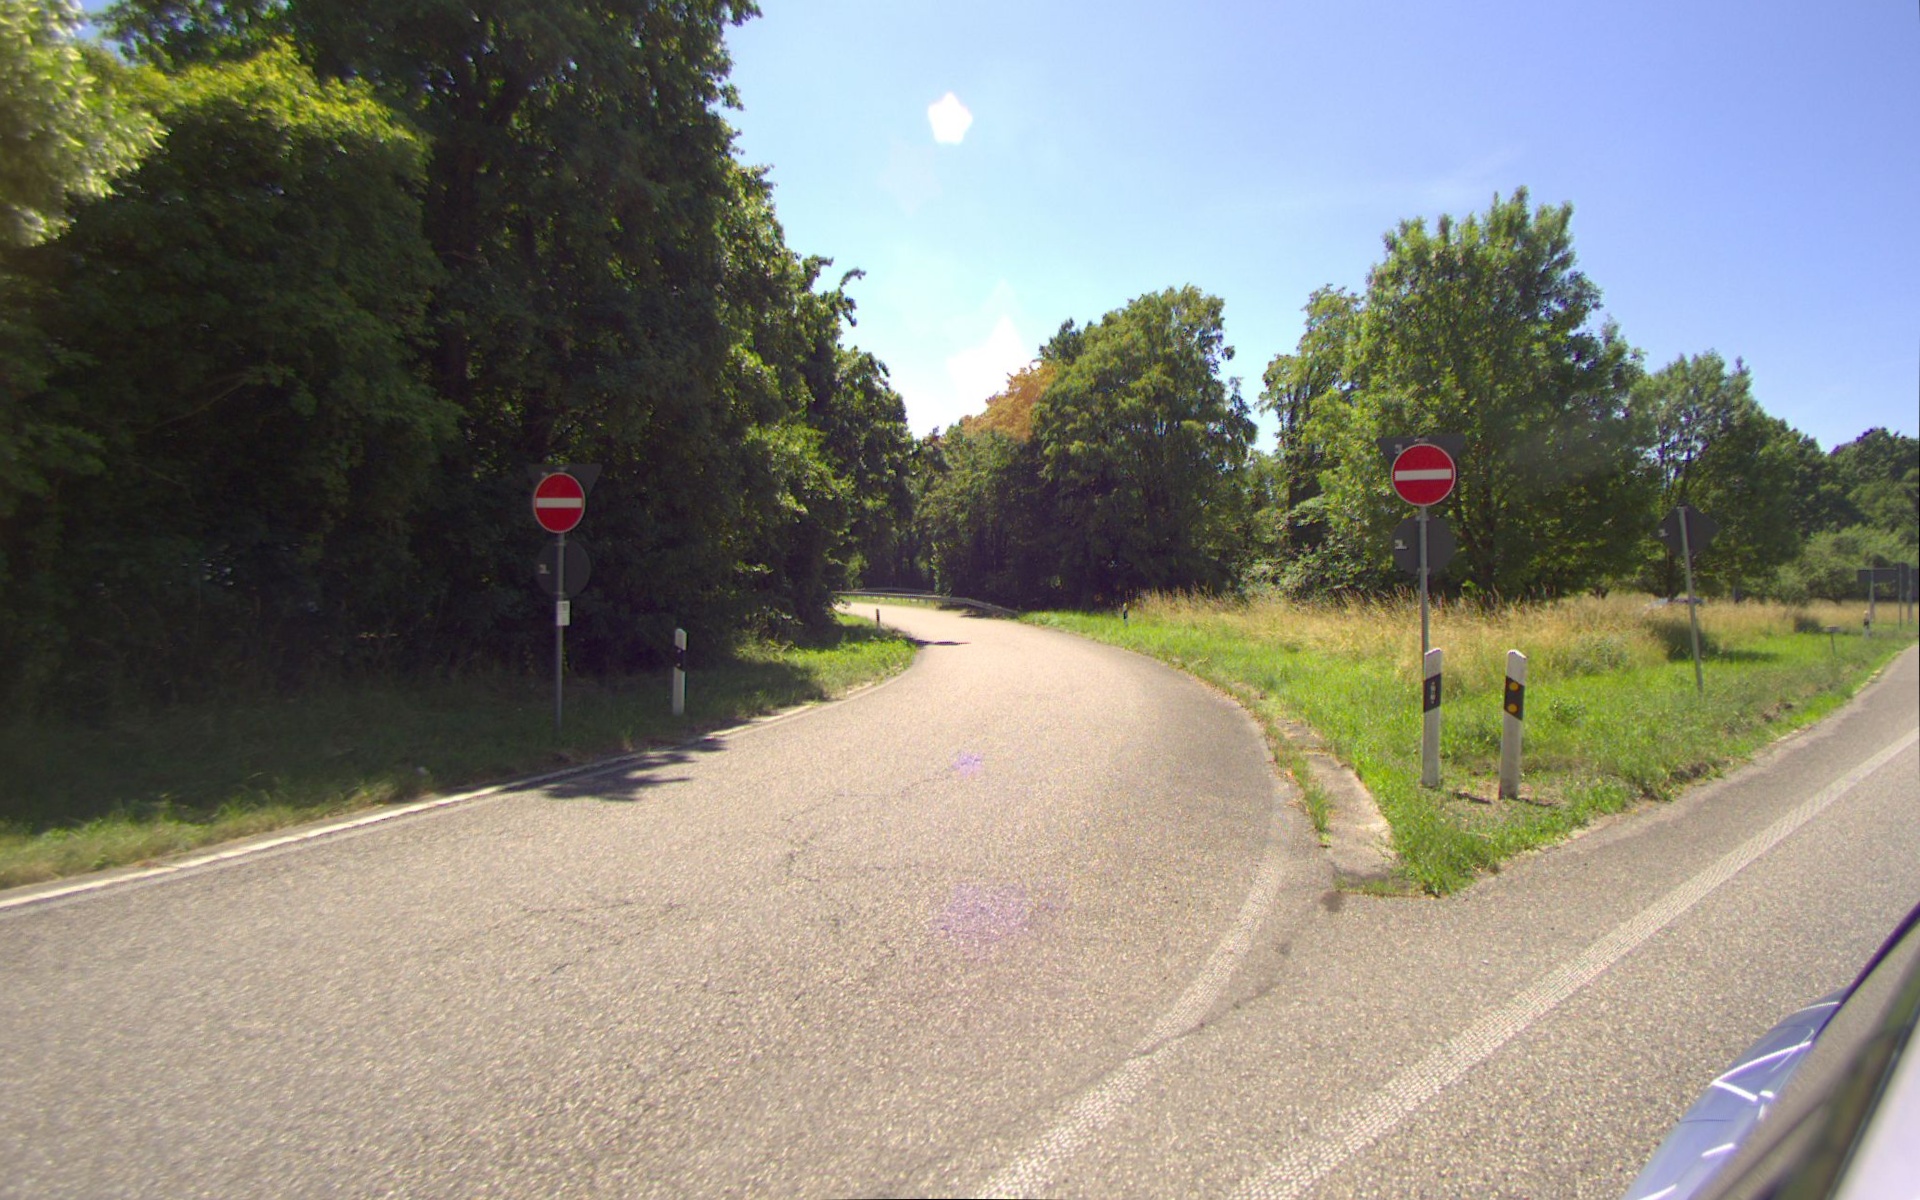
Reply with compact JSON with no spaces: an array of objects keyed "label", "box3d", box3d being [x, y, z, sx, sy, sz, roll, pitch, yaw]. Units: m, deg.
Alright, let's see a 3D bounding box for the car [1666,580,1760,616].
[{"label":"car","box3d":[41.892,-0.115,56.337,3.921,1.866,1.749,1,1,-3]}]
